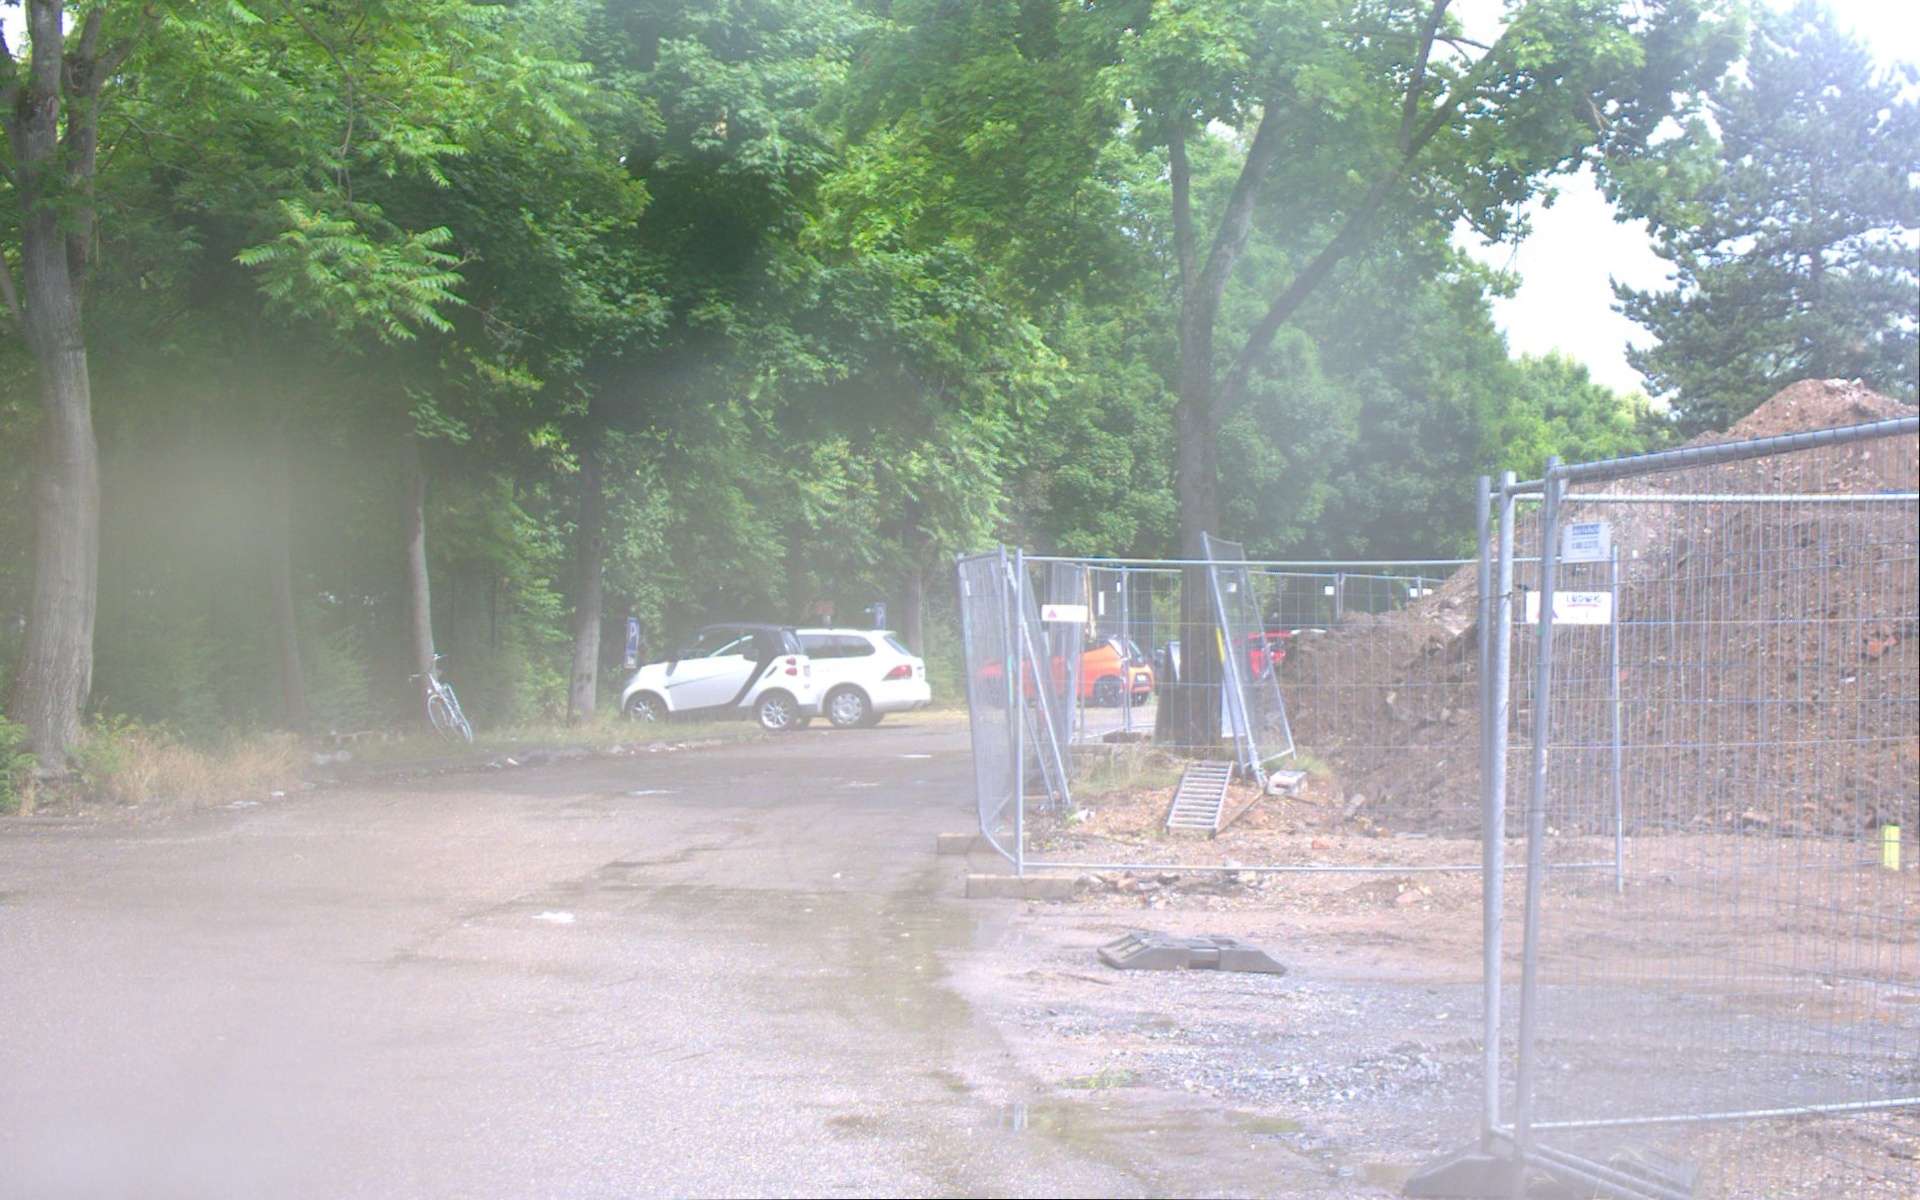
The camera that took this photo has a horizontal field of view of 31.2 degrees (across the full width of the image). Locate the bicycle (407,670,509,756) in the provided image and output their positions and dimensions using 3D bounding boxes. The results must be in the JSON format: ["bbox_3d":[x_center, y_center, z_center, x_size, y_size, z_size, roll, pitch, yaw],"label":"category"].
[{"bbox_3d":[-5.376,1.204,36.882,0.476,0.857,1.454,1,1,18],"label":"bicycle"}]

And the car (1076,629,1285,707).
[{"bbox_3d":[4.607,1.407,71.686,3.990,1.491,1.992,1,1,18],"label":"car"}]

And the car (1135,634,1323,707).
[{"bbox_3d":[6.038,1.570,77.058,3.944,1.511,1.805,1,1,13],"label":"car"}]

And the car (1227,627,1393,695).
[{"bbox_3d":[8.692,1.500,85.250,3.859,1.568,1.957,1,1,14],"label":"car"}]

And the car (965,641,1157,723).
[{"bbox_3d":[1.924,1.542,65.391,3.287,1.420,1.590,1,1,21],"label":"car"}]

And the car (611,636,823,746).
[{"bbox_3d":[-3.418,1.282,48.702,2.754,1.479,1.593,-1,0,6],"label":"car"}]

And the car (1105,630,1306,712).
[{"bbox_3d":[5.345,1.530,74.743,4.110,1.645,1.846,1,1,13],"label":"car"}]

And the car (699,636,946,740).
[{"bbox_3d":[-2.004,1.292,50.852,3.432,1.463,1.740,-1,0,6],"label":"car"}]
